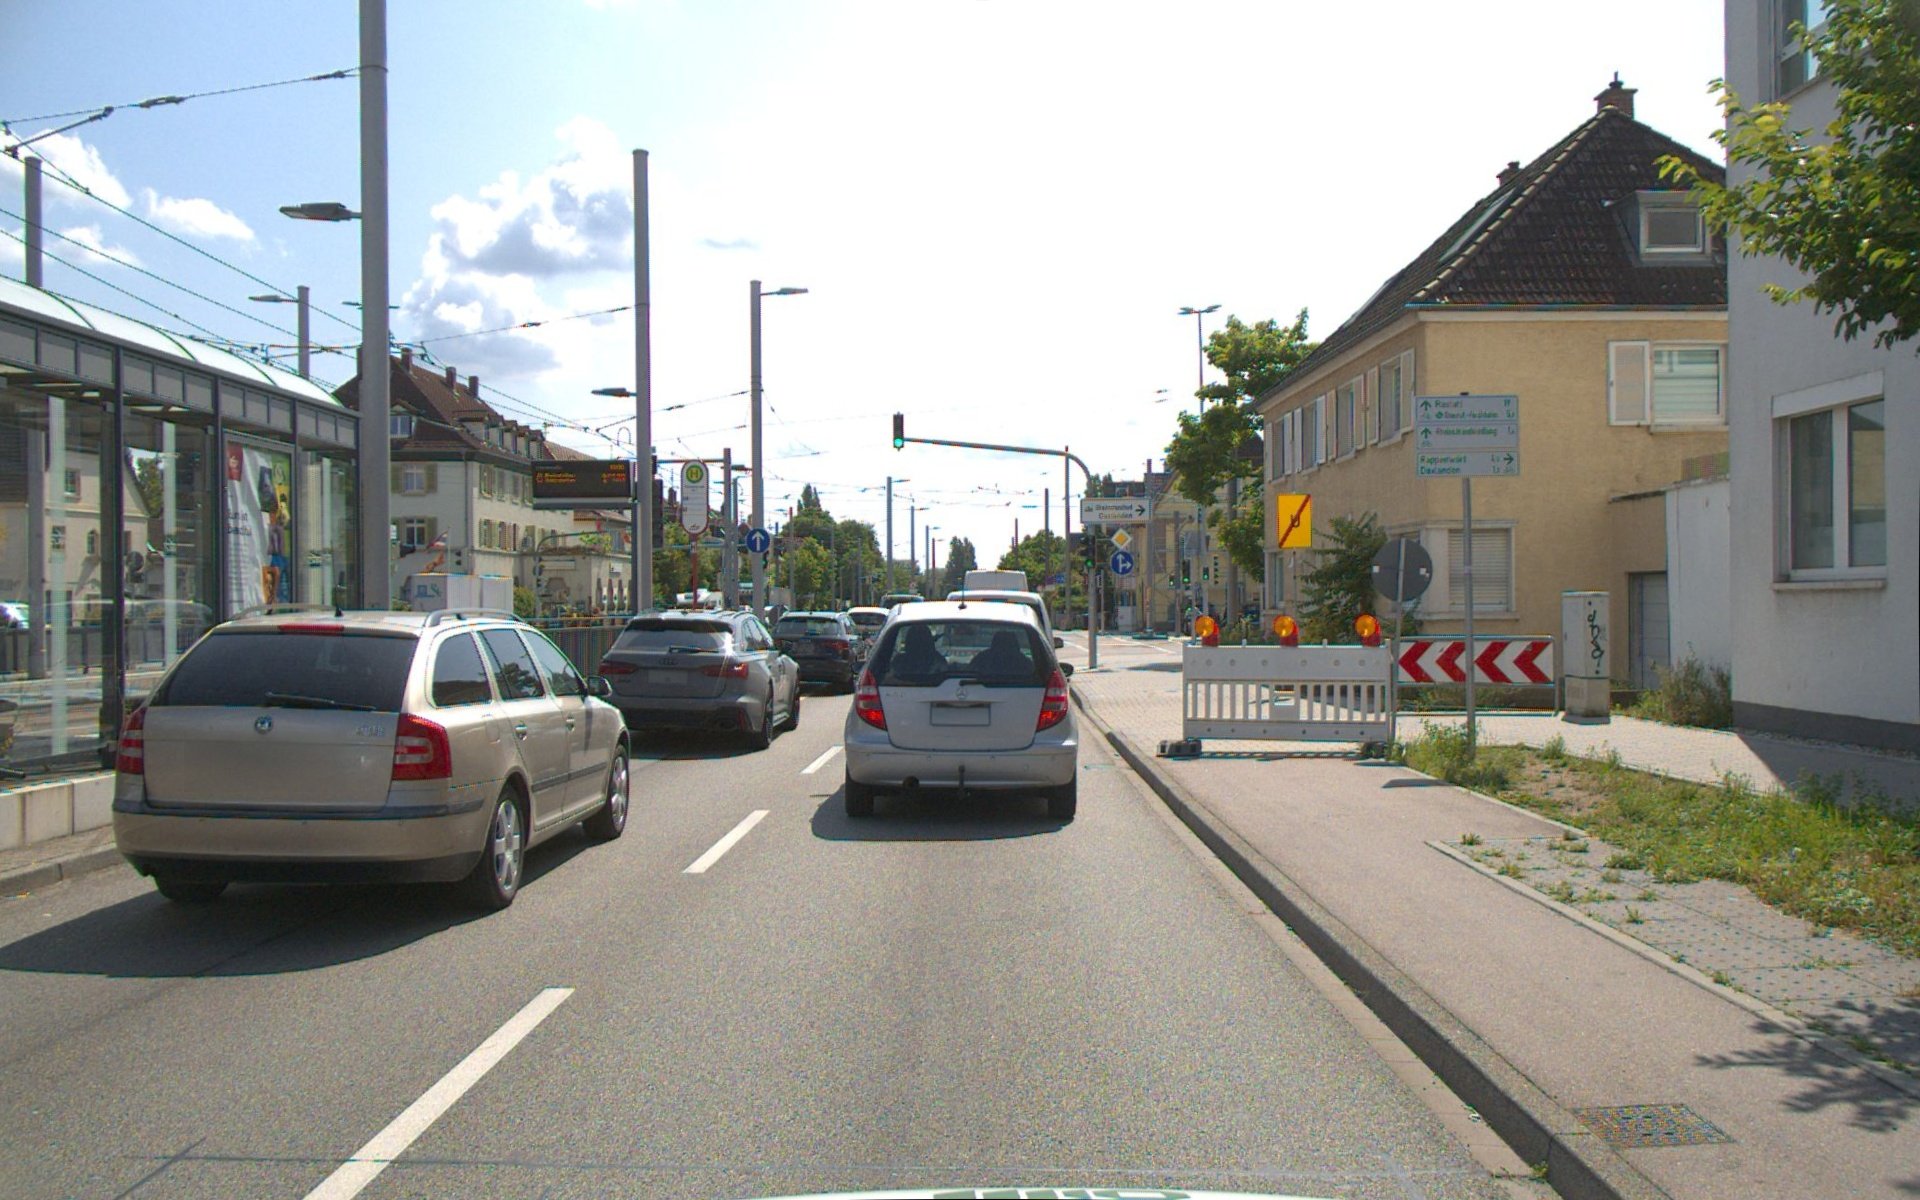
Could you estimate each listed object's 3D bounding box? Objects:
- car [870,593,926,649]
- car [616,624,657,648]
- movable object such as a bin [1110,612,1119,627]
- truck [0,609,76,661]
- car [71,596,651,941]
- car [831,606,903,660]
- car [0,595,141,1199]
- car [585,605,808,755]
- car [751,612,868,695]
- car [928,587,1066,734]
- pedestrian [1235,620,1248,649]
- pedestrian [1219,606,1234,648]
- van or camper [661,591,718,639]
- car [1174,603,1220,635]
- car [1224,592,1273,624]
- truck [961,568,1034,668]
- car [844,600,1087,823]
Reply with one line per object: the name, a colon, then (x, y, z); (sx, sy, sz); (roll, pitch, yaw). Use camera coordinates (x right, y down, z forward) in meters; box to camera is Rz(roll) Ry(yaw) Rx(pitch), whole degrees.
car: (-2.130, 0.742, 57.785); (1.814, 1.875, 3.917); (1, -1, -1)
car: (-18.980, 2.114, 97.167); (1.650, 1.375, 4.343); (1, -1, -2)
movable object such as a bin: (9.832, 1.250, 105.229); (0.458, 0.963, 0.558); (-1, -1, 1)
truck: (-37.897, 1.313, 64.401); (6.055, 1.955, 1.690); (1, -1, 4)
car: (-2.996, 0.766, 9.276); (1.695, 1.474, 4.123); (1, -1, 0)
car: (-2.559, 0.910, 46.282); (1.814, 1.413, 3.917); (1, -1, -1)
car: (-2.740, 0.695, 1.392); (1.758, 1.498, 4.721); (1, -1, -1)
car: (-2.912, 0.842, 19.236); (1.877, 1.503, 4.561); (1, -1, -1)
car: (-2.753, 0.970, 31.139); (1.814, 1.413, 4.513); (1, -1, -1)
car: (0.422, 0.783, 22.550); (1.695, 1.793, 4.015); (1, -1, -1)
pedestrian: (11.395, 1.378, 66.918); (0.477, 1.156, 0.389); (1, -1, 8)
pedestrian: (10.781, 1.101, 66.898); (0.535, 1.672, 0.401); (1, -1, 6)
van or camper: (-18.002, 1.004, 110.627); (2.276, 2.981, 7.755); (-2, 0, 1)
car: (12.653, 1.039, 88.541); (1.952, 1.624, 4.131); (1, -1, 1)
car: (15.434, 0.467, 88.694); (1.952, 1.624, 4.131); (1, -1, 1)
truck: (0.977, 0.508, 46.352); (1.814, 2.597, 5.853); (1, -1, -1)
car: (0.003, 0.816, 13.683); (1.695, 1.543, 4.015); (1, -1, -1)
